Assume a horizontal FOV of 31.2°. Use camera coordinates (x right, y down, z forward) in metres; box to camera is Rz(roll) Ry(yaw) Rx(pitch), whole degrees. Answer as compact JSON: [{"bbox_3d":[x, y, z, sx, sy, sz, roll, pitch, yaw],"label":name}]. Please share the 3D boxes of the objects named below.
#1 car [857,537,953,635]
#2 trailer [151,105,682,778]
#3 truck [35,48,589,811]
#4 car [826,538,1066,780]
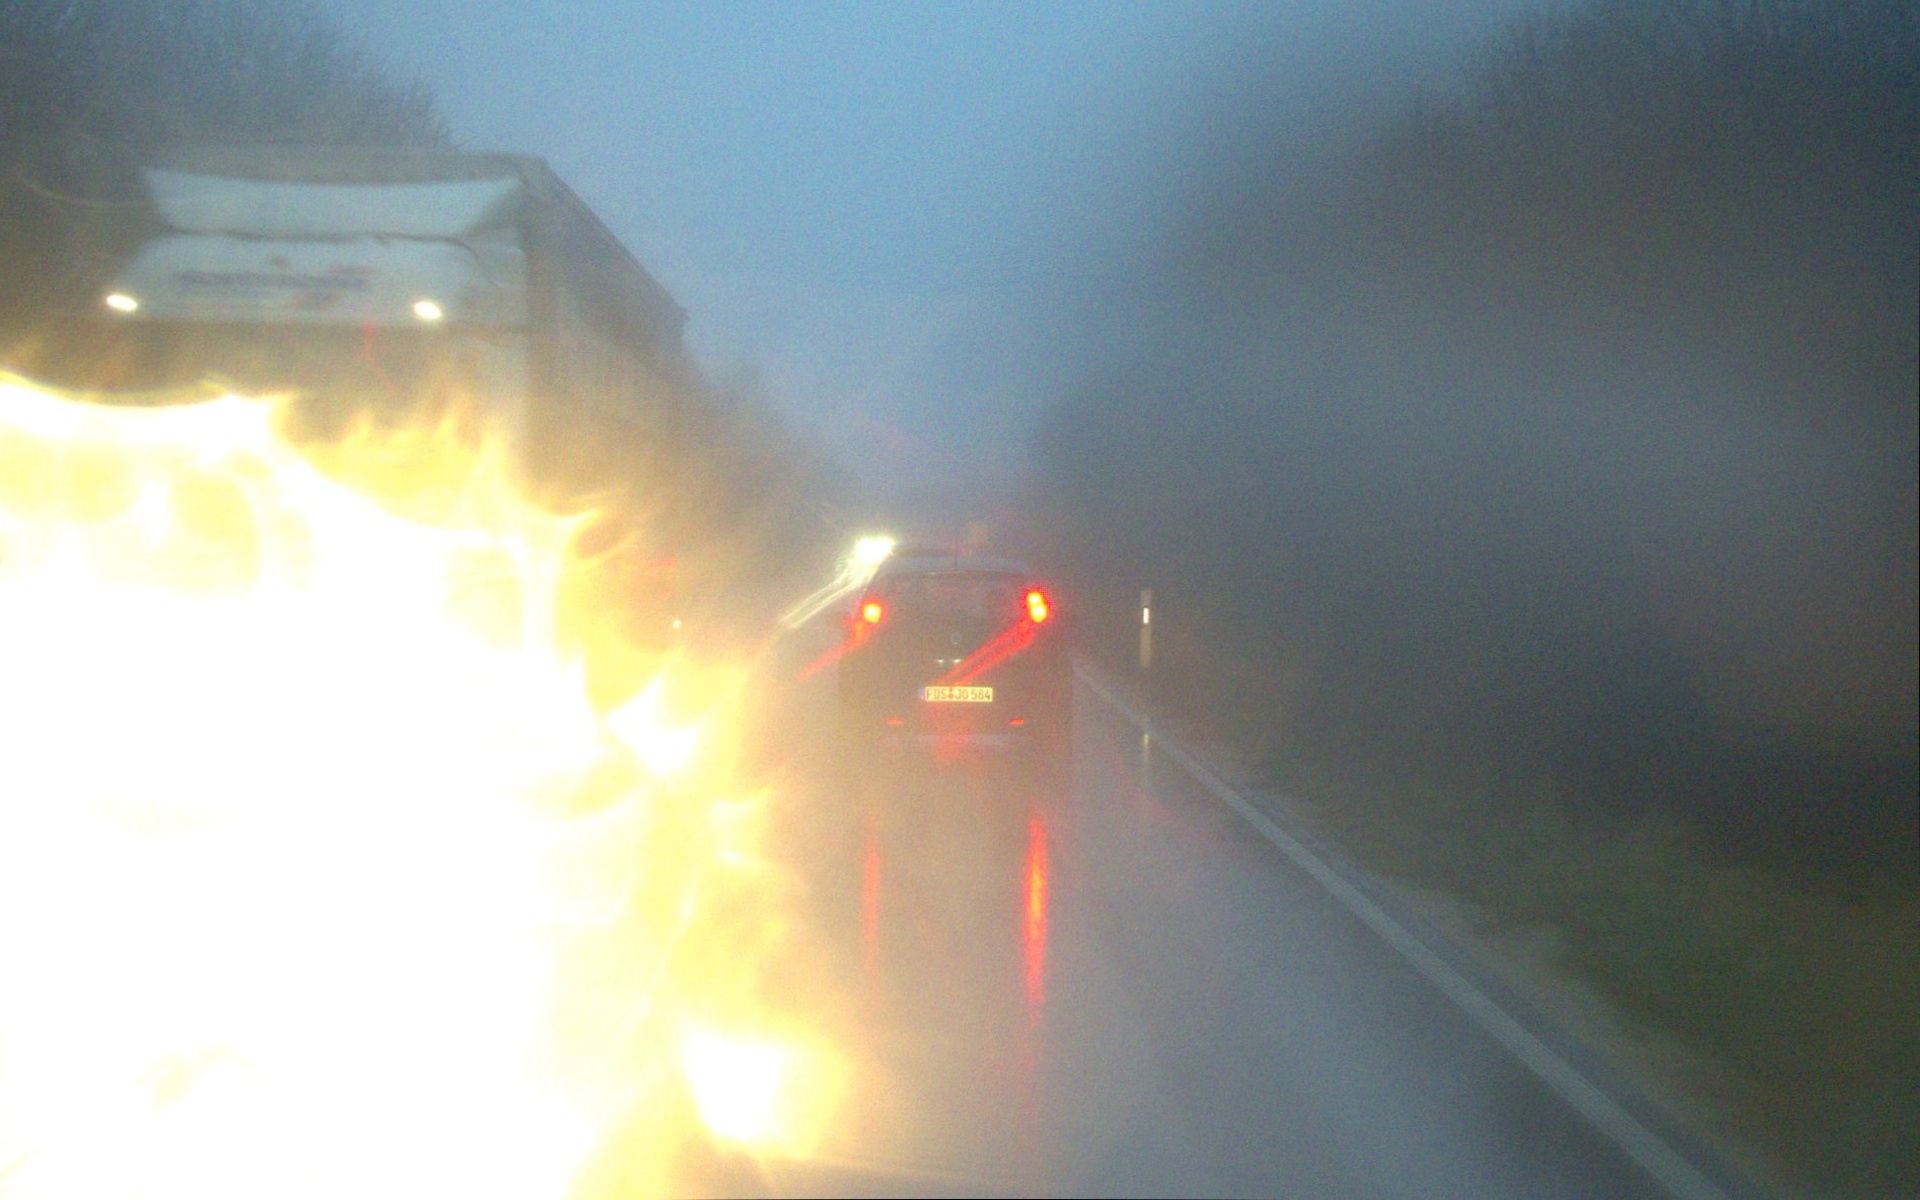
[{"bbox_3d":[-1.020,-0.295,64.332,1.733,1.773,4.000,0,1,-1],"label":"car"},{"bbox_3d":[-4.092,-1.147,28.872,2.671,4.442,12.243,0,1,-1],"label":"trailer"},{"bbox_3d":[-4.045,-1.027,22.642,2.642,4.401,5.554,0,1,0],"label":"truck"},{"bbox_3d":[-0.080,0.377,25.495,1.648,1.666,3.514,0,1,1],"label":"car"}]
